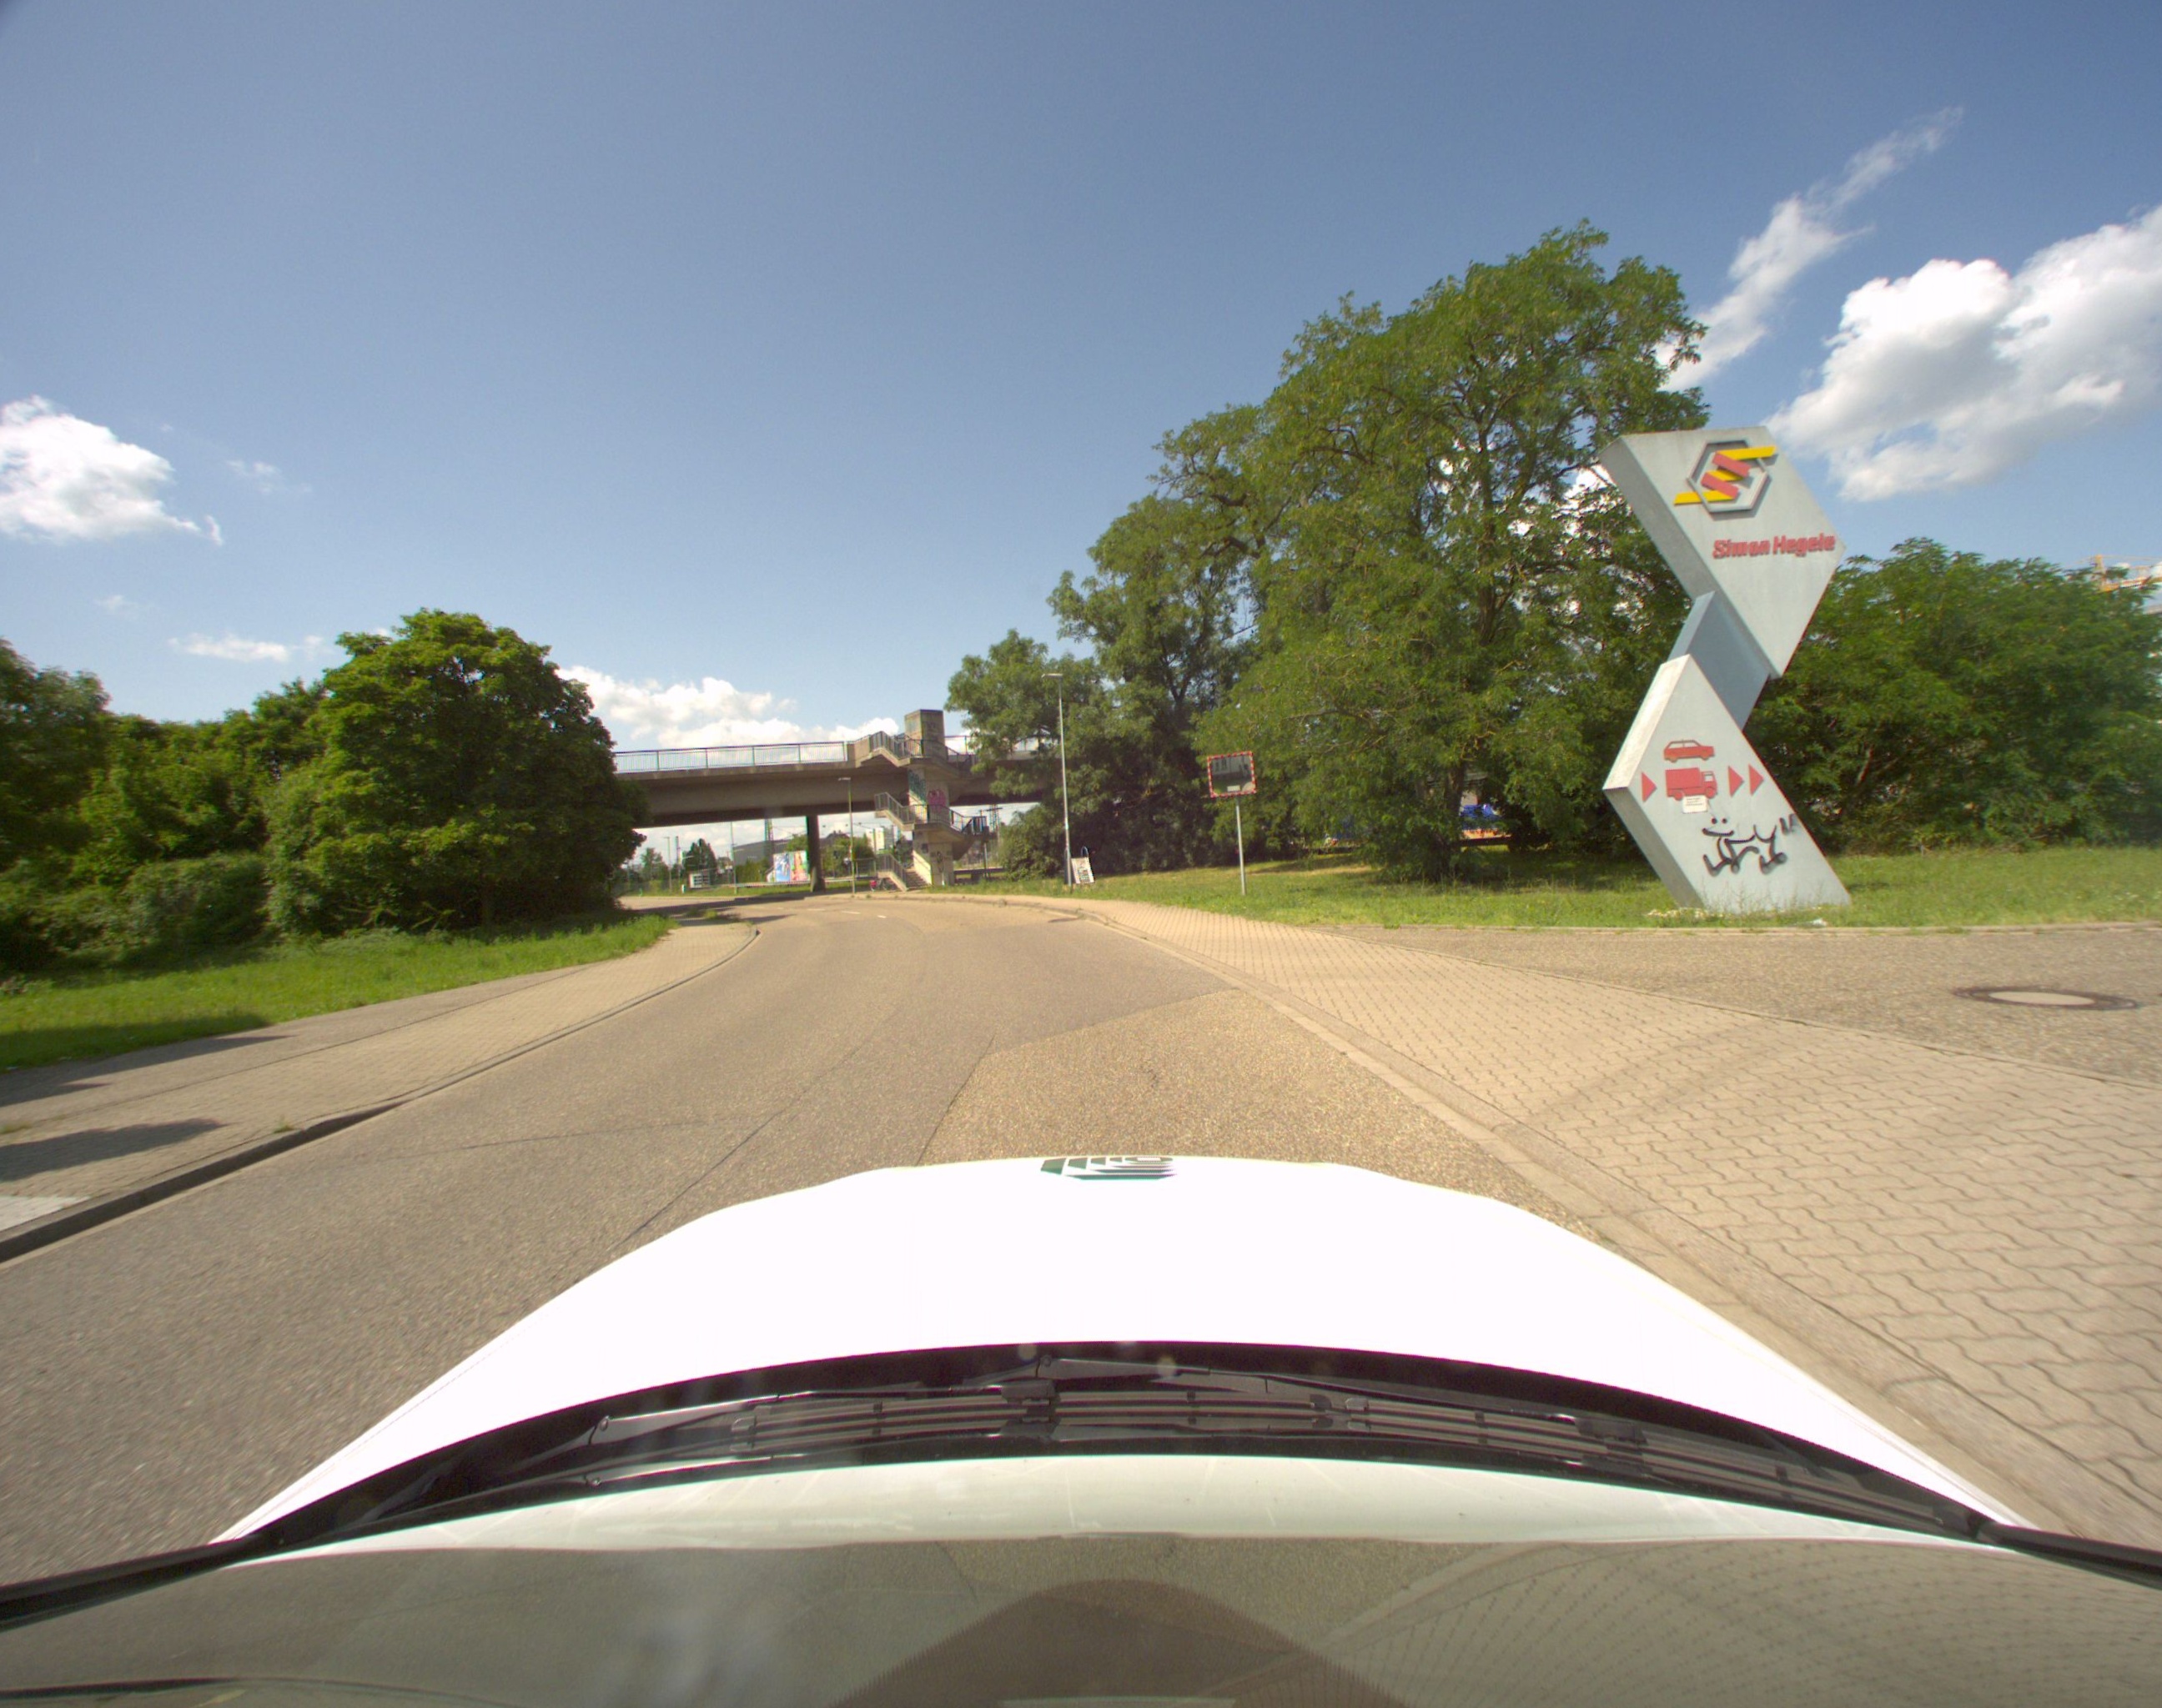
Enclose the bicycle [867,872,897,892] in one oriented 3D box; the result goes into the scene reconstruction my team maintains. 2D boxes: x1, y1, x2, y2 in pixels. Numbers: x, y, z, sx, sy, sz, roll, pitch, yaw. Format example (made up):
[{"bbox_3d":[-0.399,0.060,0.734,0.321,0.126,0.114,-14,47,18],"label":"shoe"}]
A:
[{"bbox_3d":[-12.346,1.750,50.505,2.163,1.107,0.649,-5,1,43],"label":"bicycle"}]
